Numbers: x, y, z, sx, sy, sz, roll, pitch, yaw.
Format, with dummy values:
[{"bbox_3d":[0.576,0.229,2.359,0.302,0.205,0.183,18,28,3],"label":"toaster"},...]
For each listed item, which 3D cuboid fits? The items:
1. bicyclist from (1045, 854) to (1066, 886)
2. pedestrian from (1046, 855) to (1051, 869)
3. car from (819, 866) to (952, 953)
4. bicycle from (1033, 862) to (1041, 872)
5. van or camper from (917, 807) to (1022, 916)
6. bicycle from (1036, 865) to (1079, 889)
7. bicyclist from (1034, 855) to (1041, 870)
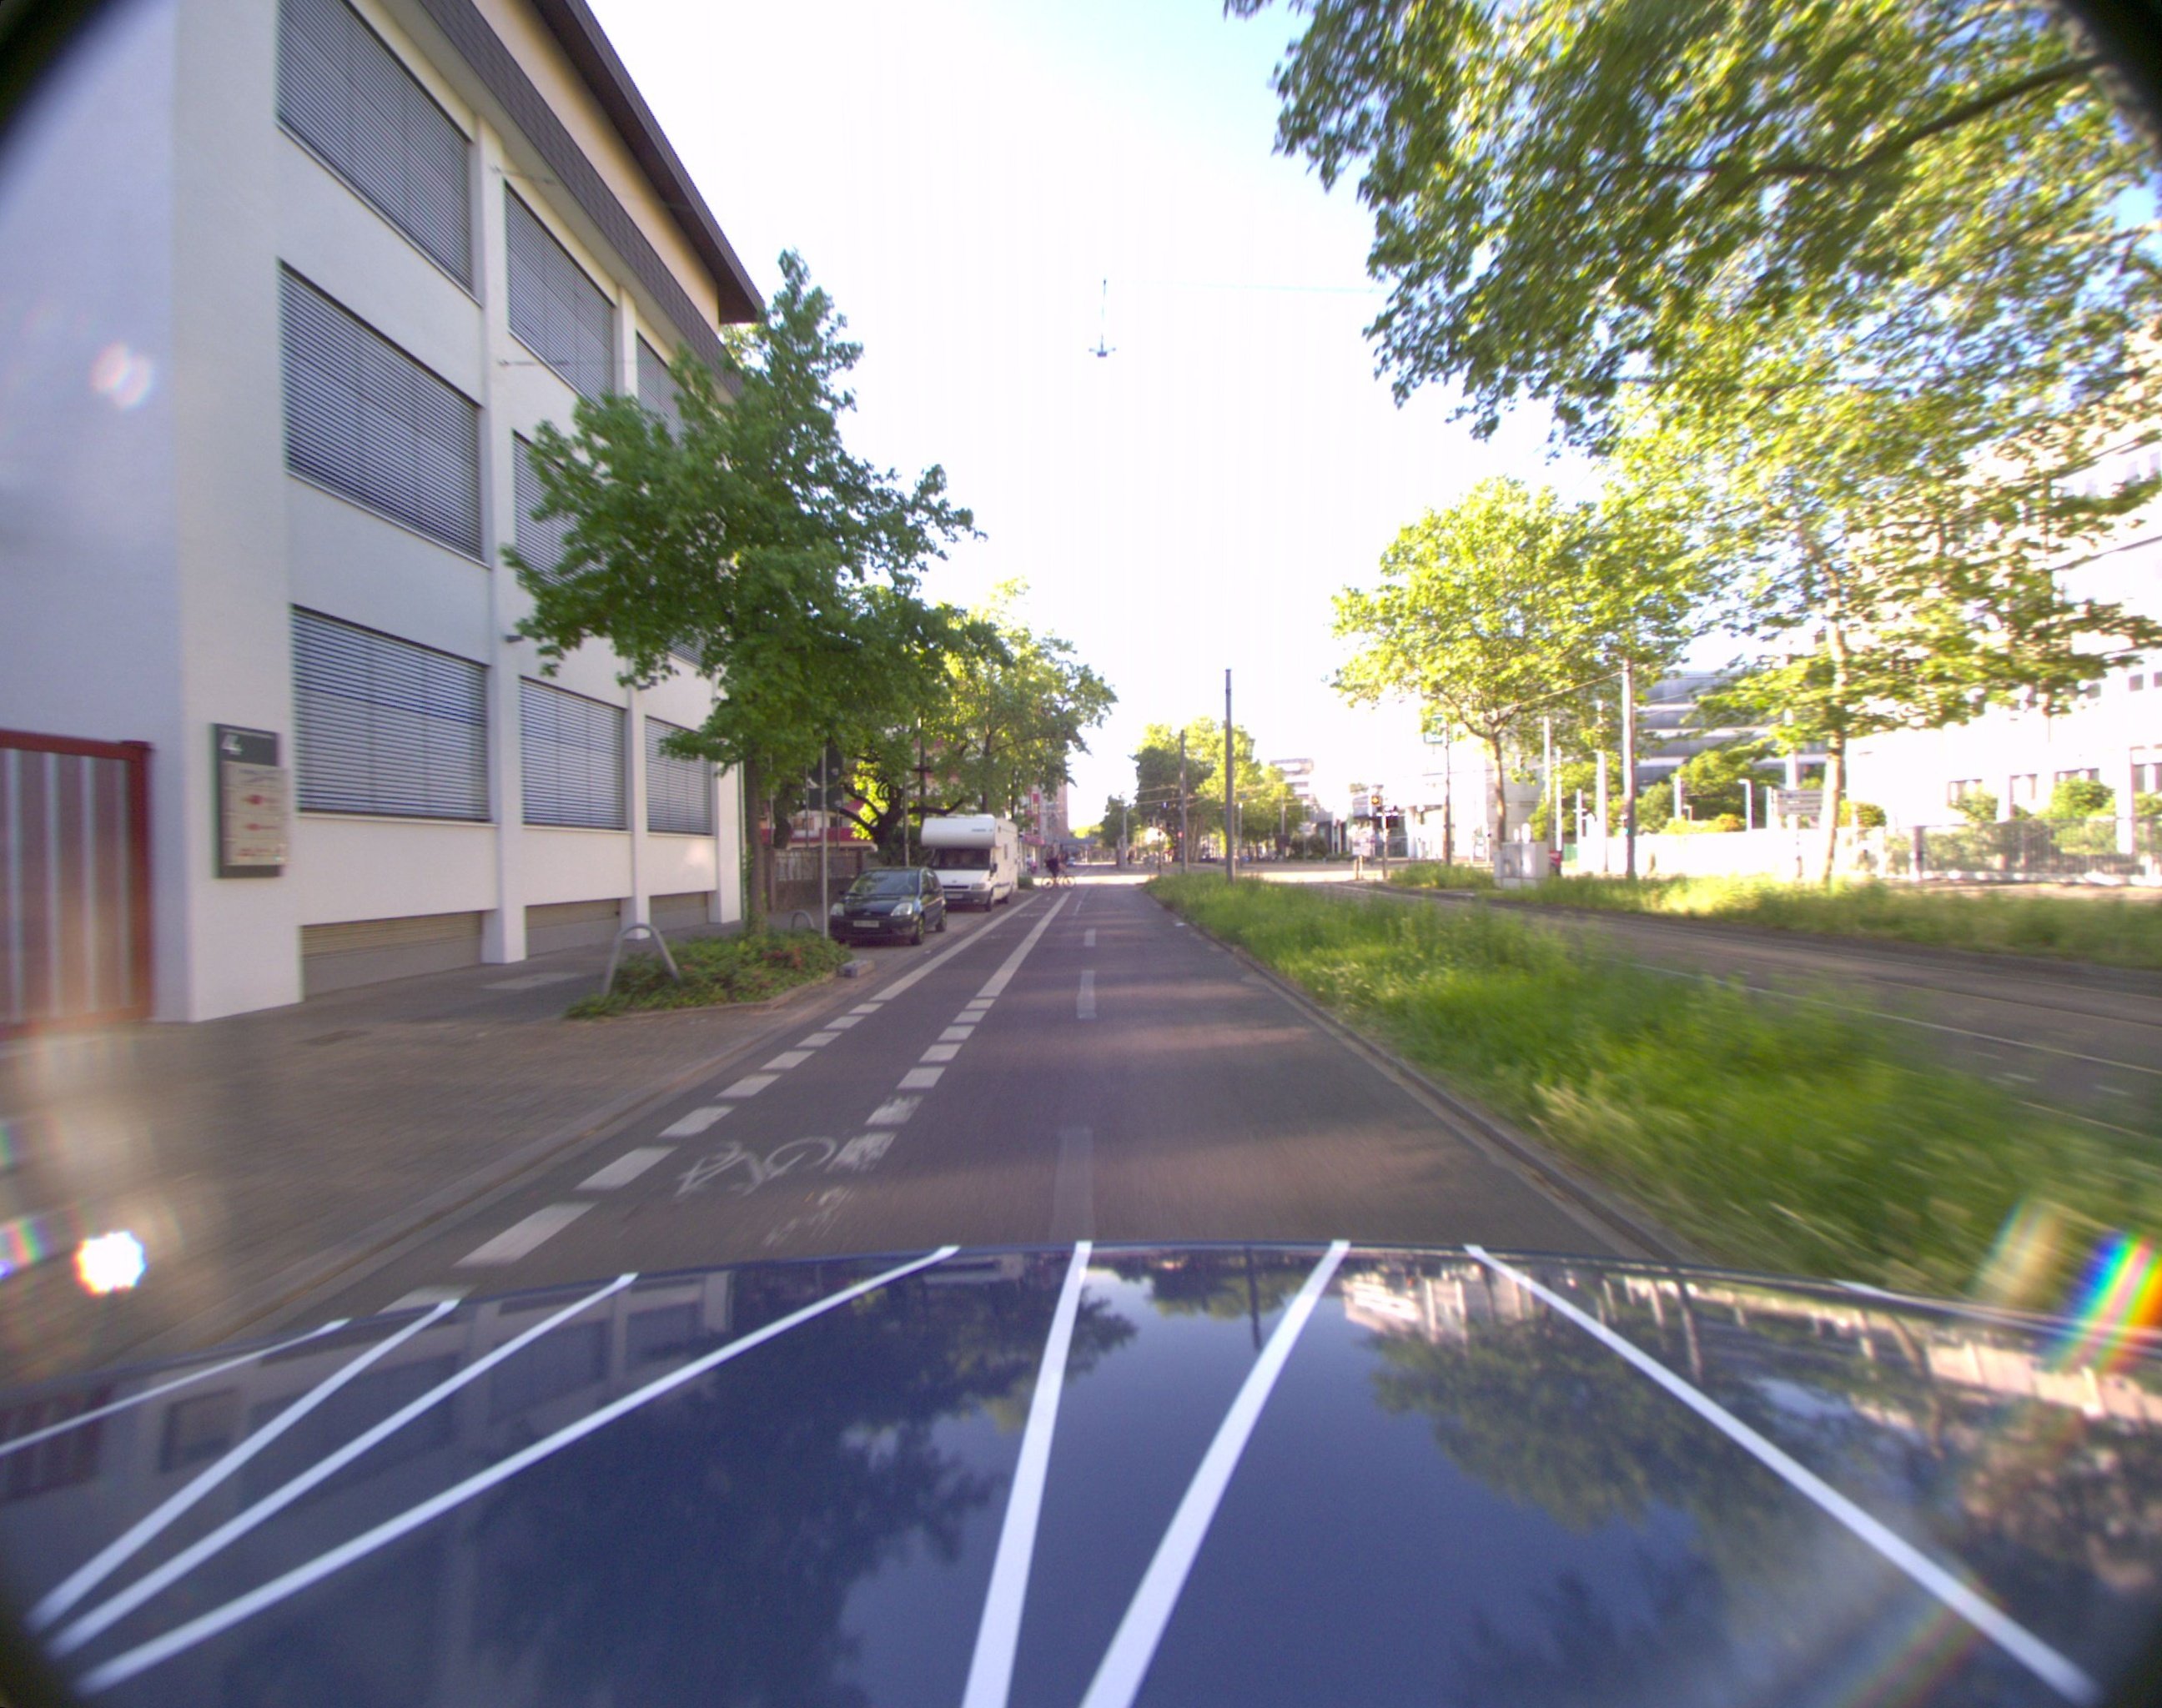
[{"bbox_3d":[-1.289,0.795,38.165,1.008,1.567,0.760,-2,1,-5],"label":"bicyclist"},{"bbox_3d":[-4.275,1.036,99.837,0.621,1.771,0.686,-2,1,1],"label":"pedestrian"},{"bbox_3d":[-3.719,1.001,15.108,1.656,1.439,3.800,0,0,0],"label":"car"},{"bbox_3d":[-4.069,1.227,70.735,0.566,0.872,1.718,-2,1,1],"label":"bicycle"},{"bbox_3d":[-3.449,0.201,25.190,2.172,3.074,7.290,0,0,2],"label":"van or camper"},{"bbox_3d":[-1.180,1.153,38.183,2.083,1.122,0.760,-2,1,-5],"label":"bicycle"},{"bbox_3d":[-4.082,0.813,70.745,0.550,1.333,0.616,-2,1,1],"label":"bicyclist"}]
